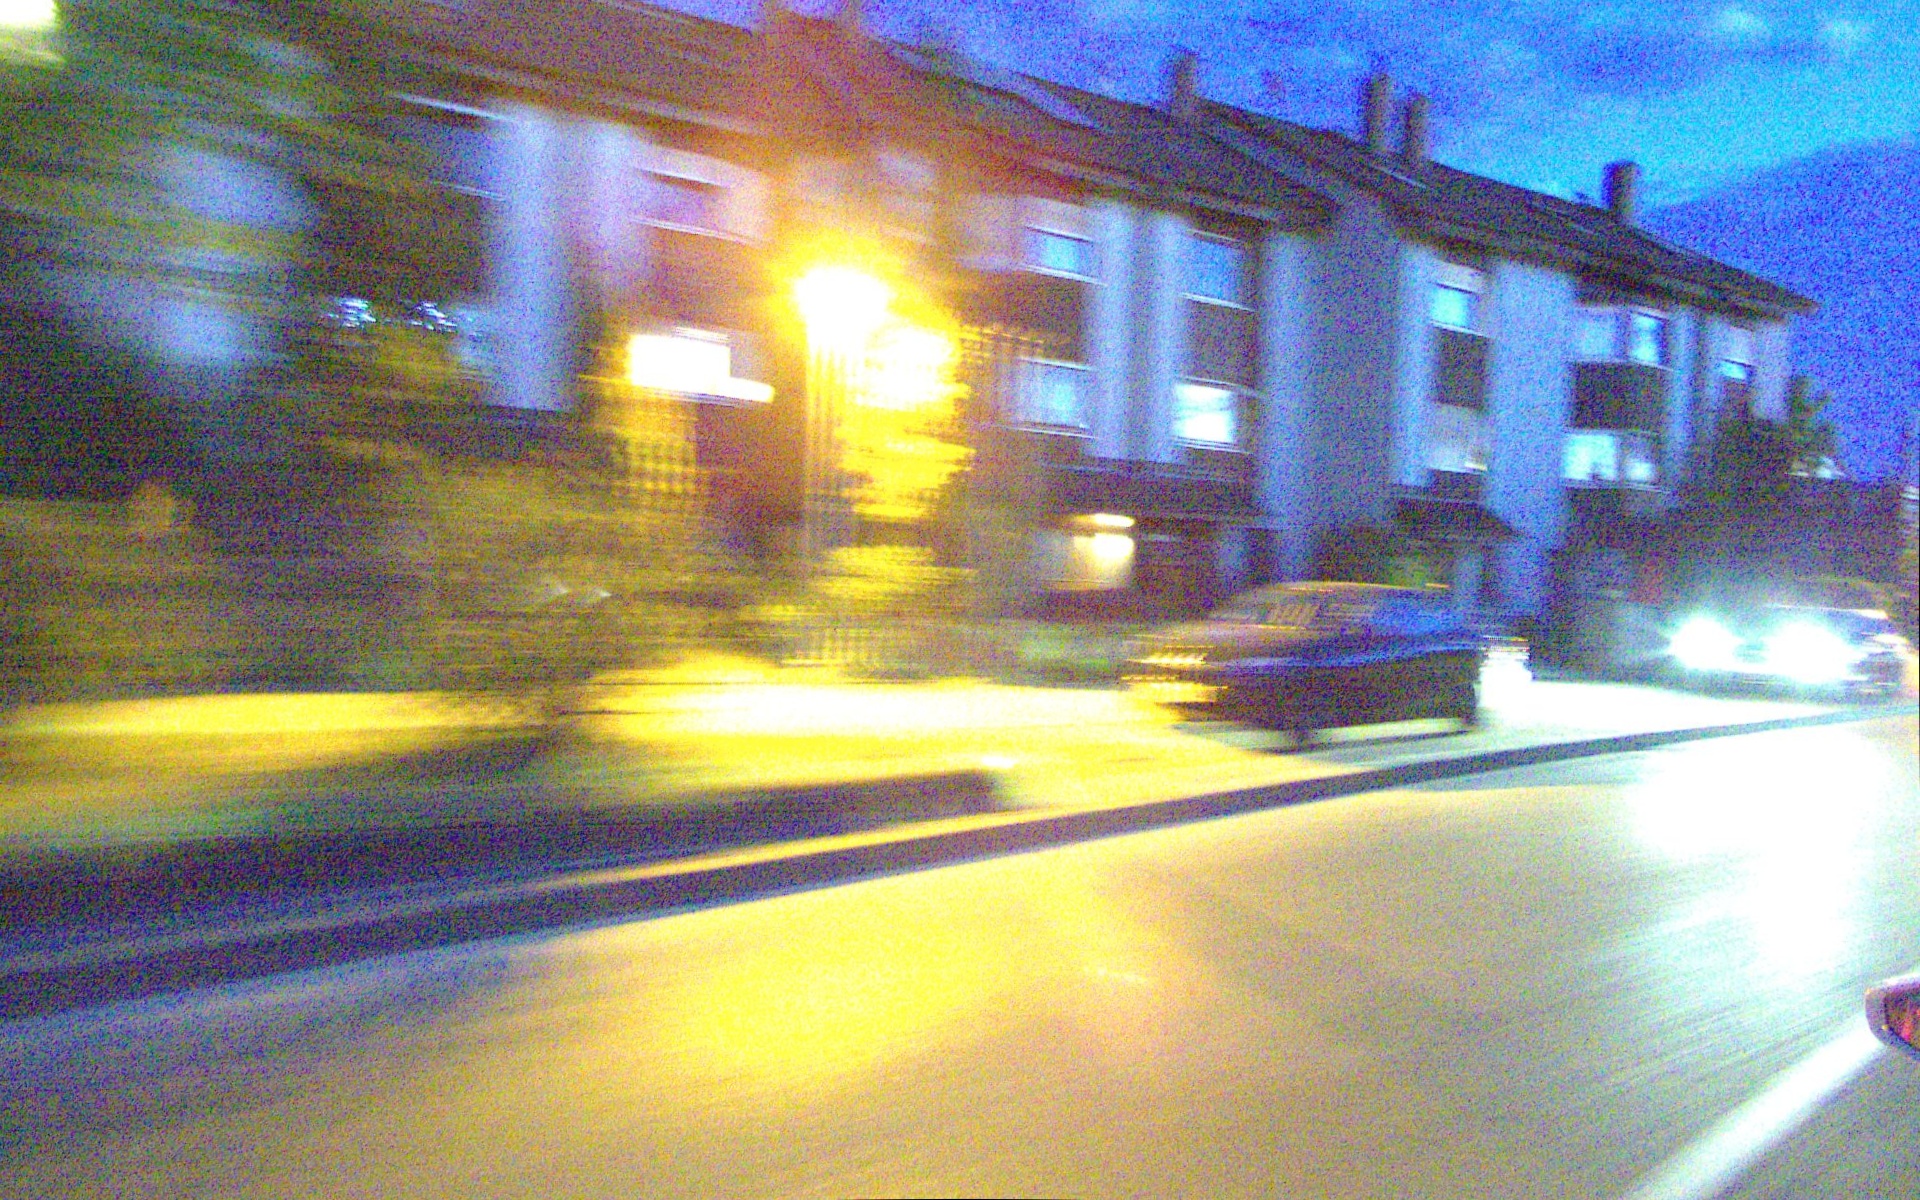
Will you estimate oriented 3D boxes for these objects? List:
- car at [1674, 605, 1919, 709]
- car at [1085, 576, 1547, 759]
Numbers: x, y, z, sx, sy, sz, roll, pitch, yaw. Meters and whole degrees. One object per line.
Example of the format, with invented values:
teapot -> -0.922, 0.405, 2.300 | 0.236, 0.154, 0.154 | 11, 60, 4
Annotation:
car -> 14.250, 0.928, 16.857 | 4.859, 1.464, 1.839 | 2, 1, -31
car -> 3.645, 0.581, 10.006 | 4.550, 1.398, 1.981 | 2, 1, -34
